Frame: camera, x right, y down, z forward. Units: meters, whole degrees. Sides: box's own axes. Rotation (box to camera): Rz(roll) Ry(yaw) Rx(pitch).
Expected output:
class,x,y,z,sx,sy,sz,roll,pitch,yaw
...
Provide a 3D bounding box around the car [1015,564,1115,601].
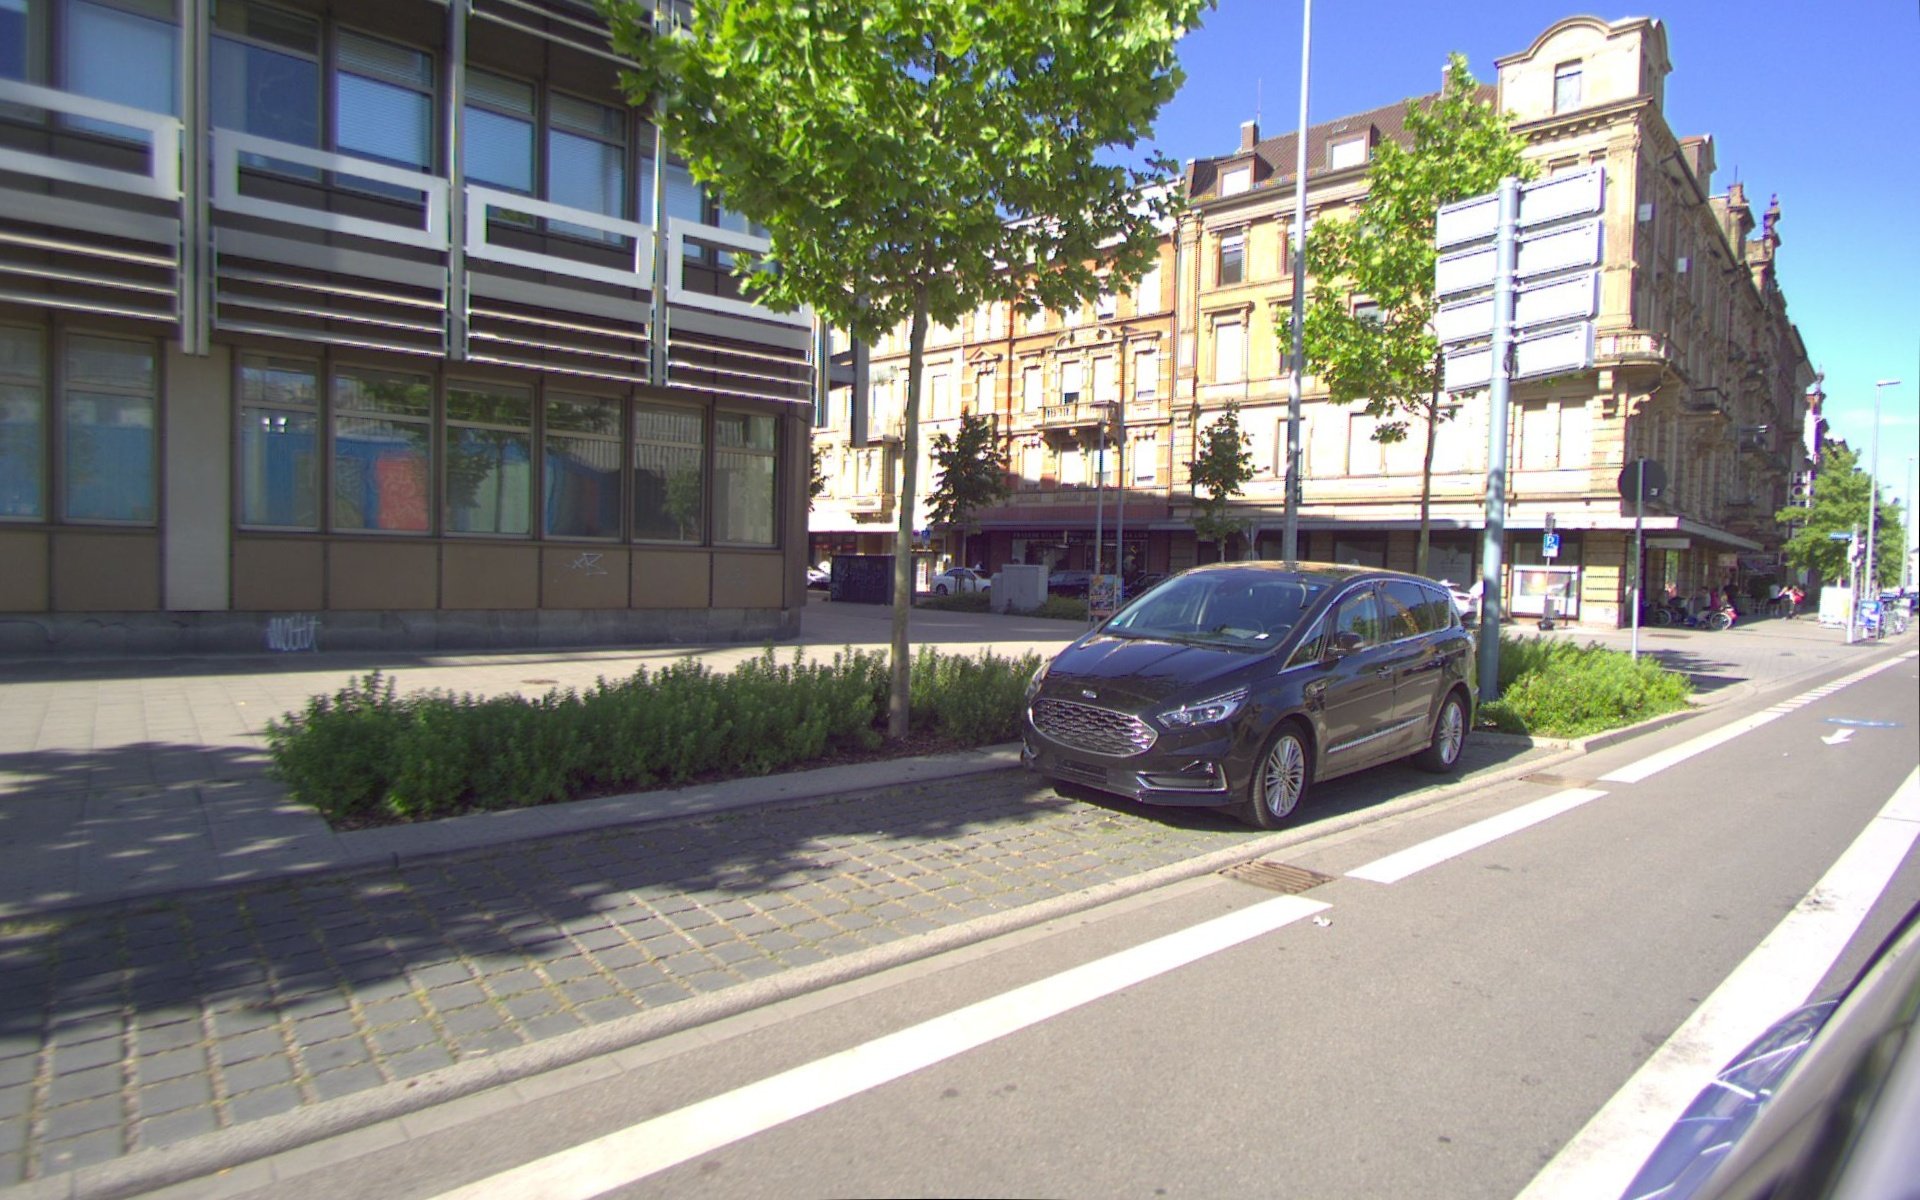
class,x,y,z,sx,sy,sz,roll,pitch,yaw
car,4.263,-0.737,41.478,3.804,1.371,1.628,3,2,38

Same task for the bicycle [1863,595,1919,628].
class,x,y,z,sx,sy,sz,roll,pitch,yaw
bicycle,36.694,0.443,39.769,1.660,1.123,0.595,6,5,38

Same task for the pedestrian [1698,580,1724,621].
class,x,y,z,sx,sy,sz,roll,pitch,yaw
pedestrian,26.677,0.001,35.964,0.573,1.411,0.638,5,4,44

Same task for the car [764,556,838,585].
class,x,y,z,sx,sy,sz,roll,pitch,yaw
car,-8.336,-1.547,52.813,3.804,1.371,1.689,3,2,38

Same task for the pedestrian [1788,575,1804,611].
class,x,y,z,sx,sy,sz,roll,pitch,yaw
pedestrian,43.628,-0.378,52.794,0.492,1.872,0.512,0,1,-37

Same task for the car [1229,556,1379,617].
class,x,y,z,sx,sy,sz,roll,pitch,yaw
car,10.890,-0.484,32.188,4.146,1.774,1.793,3,2,38

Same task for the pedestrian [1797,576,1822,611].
class,x,y,z,sx,sy,sz,roll,pitch,yaw
pedestrian,41.512,-0.323,49.439,0.795,1.603,0.752,0,4,-44

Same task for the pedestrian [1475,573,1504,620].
class,x,y,z,sx,sy,sz,roll,pitch,yaw
pedestrian,16.989,-0.107,32.459,0.680,1.468,0.535,2,2,41

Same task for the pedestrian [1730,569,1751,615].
class,x,y,z,sx,sy,sz,roll,pitch,yaw
pedestrian,30.736,-0.316,39.846,0.492,1.824,0.512,0,1,-37

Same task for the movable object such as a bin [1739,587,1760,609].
class,x,y,z,sx,sy,sz,roll,pitch,yaw
movable object such as a bin,39.073,-0.088,50.086,0.577,1.025,0.692,-1,4,-40

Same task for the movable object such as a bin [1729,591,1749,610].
class,x,y,z,sx,sy,sz,roll,pitch,yaw
movable object such as a bin,37.180,0.007,48.291,0.467,0.876,0.606,-1,4,-40

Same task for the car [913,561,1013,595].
class,x,y,z,sx,sy,sz,roll,pitch,yaw
car,0.108,-0.996,45.241,4.417,1.371,1.628,3,2,38

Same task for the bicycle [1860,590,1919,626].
class,x,y,z,sx,sy,sz,roll,pitch,yaw
bicycle,37.719,0.312,40.909,0.681,1.266,1.866,-1,5,-45

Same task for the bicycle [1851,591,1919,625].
class,x,y,z,sx,sy,sz,roll,pitch,yaw
bicycle,35.668,0.304,38.893,0.593,1.133,2.052,-1,5,-44

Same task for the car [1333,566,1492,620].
class,x,y,z,sx,sy,sz,roll,pitch,yaw
car,14.657,-0.272,32.881,4.386,1.563,1.828,3,2,38

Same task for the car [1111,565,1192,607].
class,x,y,z,sx,sy,sz,roll,pitch,yaw
car,7.380,-0.556,39.069,2.776,1.513,1.288,3,2,38

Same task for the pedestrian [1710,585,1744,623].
class,x,y,z,sx,sy,sz,roll,pitch,yaw
pedestrian,26.434,0.123,34.872,0.635,1.232,0.719,0,4,-39

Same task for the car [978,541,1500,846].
class,x,y,z,sx,sy,sz,roll,pitch,yaw
car,2.332,0.462,7.696,4.394,1.679,1.750,-1,2,-43

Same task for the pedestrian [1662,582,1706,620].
class,x,y,z,sx,sy,sz,roll,pitch,yaw
pedestrian,24.912,0.022,34.832,0.691,1.232,1.073,-1,5,-44
